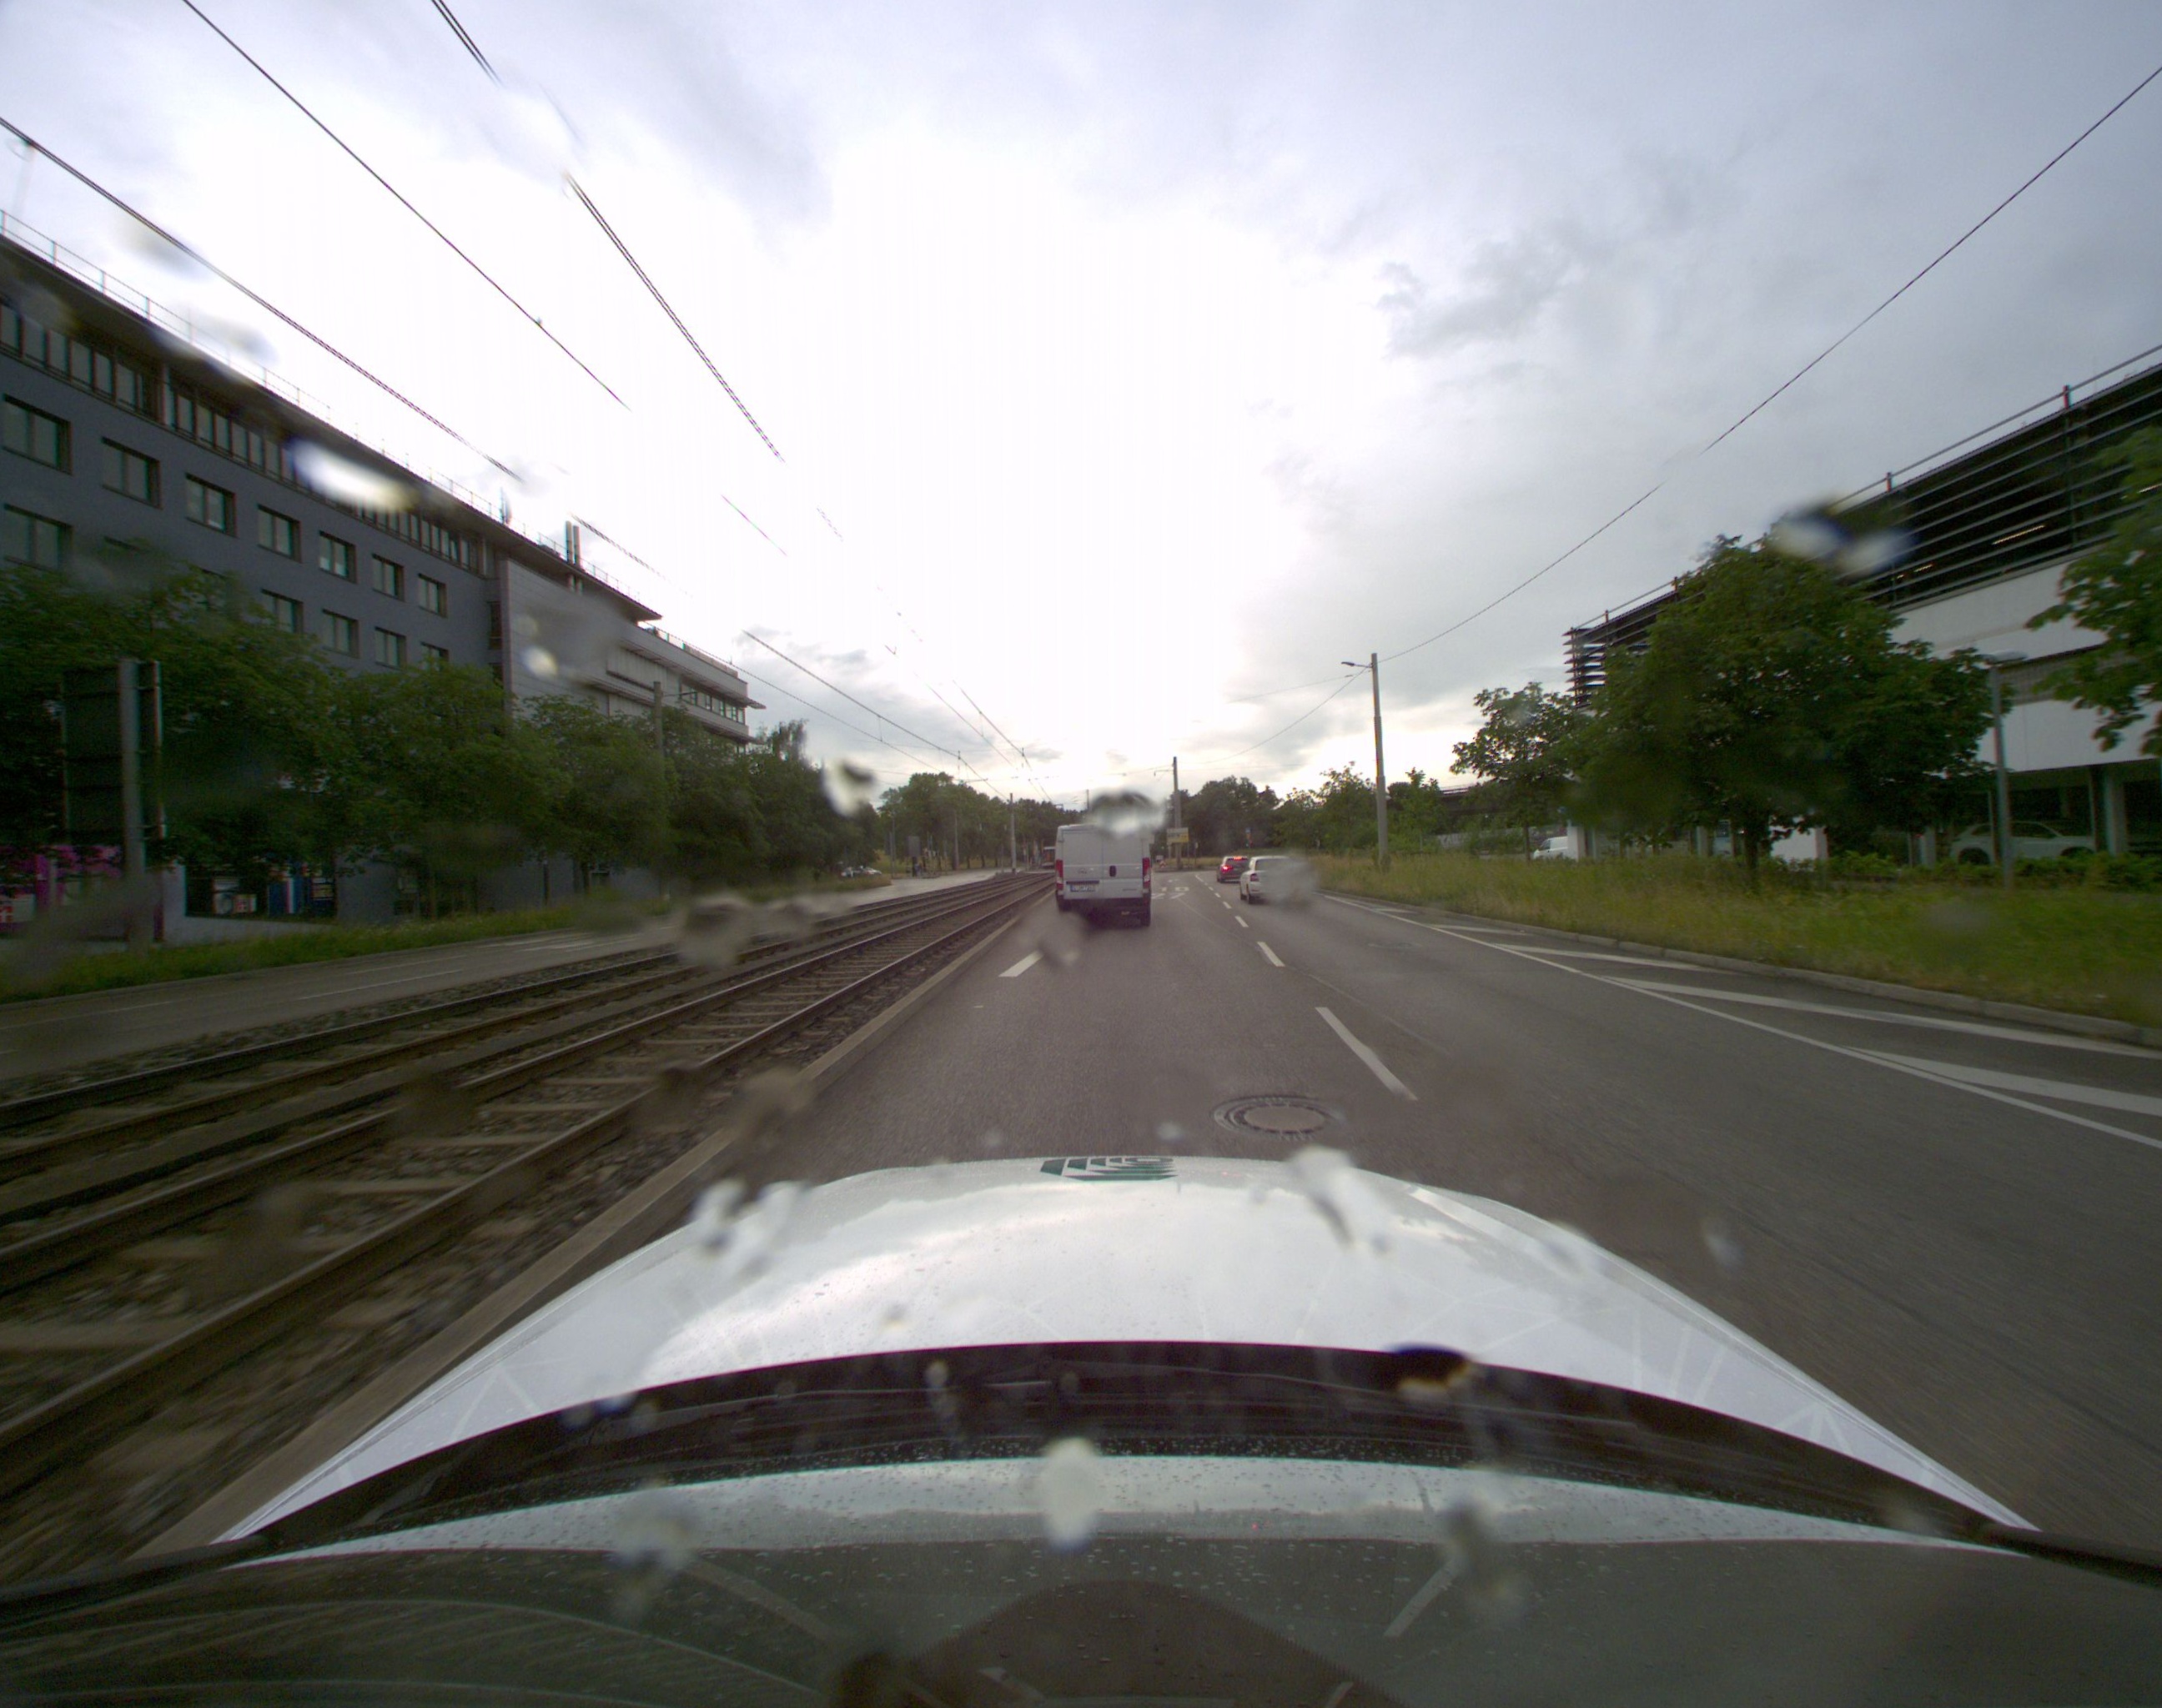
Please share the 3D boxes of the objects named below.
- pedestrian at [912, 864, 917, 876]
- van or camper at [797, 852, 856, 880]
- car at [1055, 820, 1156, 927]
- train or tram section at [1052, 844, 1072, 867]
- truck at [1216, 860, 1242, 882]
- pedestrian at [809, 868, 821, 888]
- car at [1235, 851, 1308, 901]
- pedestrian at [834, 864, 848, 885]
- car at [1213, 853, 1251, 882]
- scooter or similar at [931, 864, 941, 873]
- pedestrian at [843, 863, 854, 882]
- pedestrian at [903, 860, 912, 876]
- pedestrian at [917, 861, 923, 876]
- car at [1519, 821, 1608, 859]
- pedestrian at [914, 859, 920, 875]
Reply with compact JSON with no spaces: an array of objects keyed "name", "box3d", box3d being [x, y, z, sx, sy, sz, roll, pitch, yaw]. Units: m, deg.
[{"name":"pedestrian","box3d":[-20.441,1.906,100.012,0.493,1.473,0.722,0,-1,4]},{"name":"van or camper","box3d":[-29.324,1.415,93.678,7.279,2.967,2.507,-2,0,36]},{"name":"car","box3d":[0.594,0.395,19.388,2.082,2.196,5.063,-1,0,2]},{"name":"train or tram section","box3d":[-3.199,0.283,140.288,2.916,3.933,7.012,0,0,4]},{"name":"truck","box3d":[13.512,1.527,74.001,1.979,1.790,4.430,-3,0,13]},{"name":"pedestrian","box3d":[-24.492,2.201,74.928,0.722,1.755,0.878,0,-1,4]},{"name":"car","box3d":[5.990,0.662,25.992,1.738,1.457,3.676,-1,0,5]},{"name":"pedestrian","box3d":[-23.919,2.025,81.302,0.880,2.013,0.949,-2,-1,16]},{"name":"car","box3d":[8.131,0.724,44.161,1.779,1.449,4.008,-1,-1,7]},{"name":"scooter or similar","box3d":[-20.155,1.998,113.190,1.287,1.161,0.376,-3,0,-43]},{"name":"pedestrian","box3d":[-23.170,1.837,81.190,0.628,1.867,0.958,-3,0,17]},{"name":"pedestrian","box3d":[-21.236,1.706,99.855,0.885,2.013,0.865,-2,-1,-3]},{"name":"pedestrian","box3d":[-19.494,1.723,98.414,0.503,1.787,0.833,0,-1,6]},{"name":"car","box3d":[28.042,-0.767,47.528,2.038,2.013,5.087,-1,0,-1]},{"name":"pedestrian","box3d":[-19.880,1.610,98.665,0.493,1.955,0.723,0,-1,6]}]
